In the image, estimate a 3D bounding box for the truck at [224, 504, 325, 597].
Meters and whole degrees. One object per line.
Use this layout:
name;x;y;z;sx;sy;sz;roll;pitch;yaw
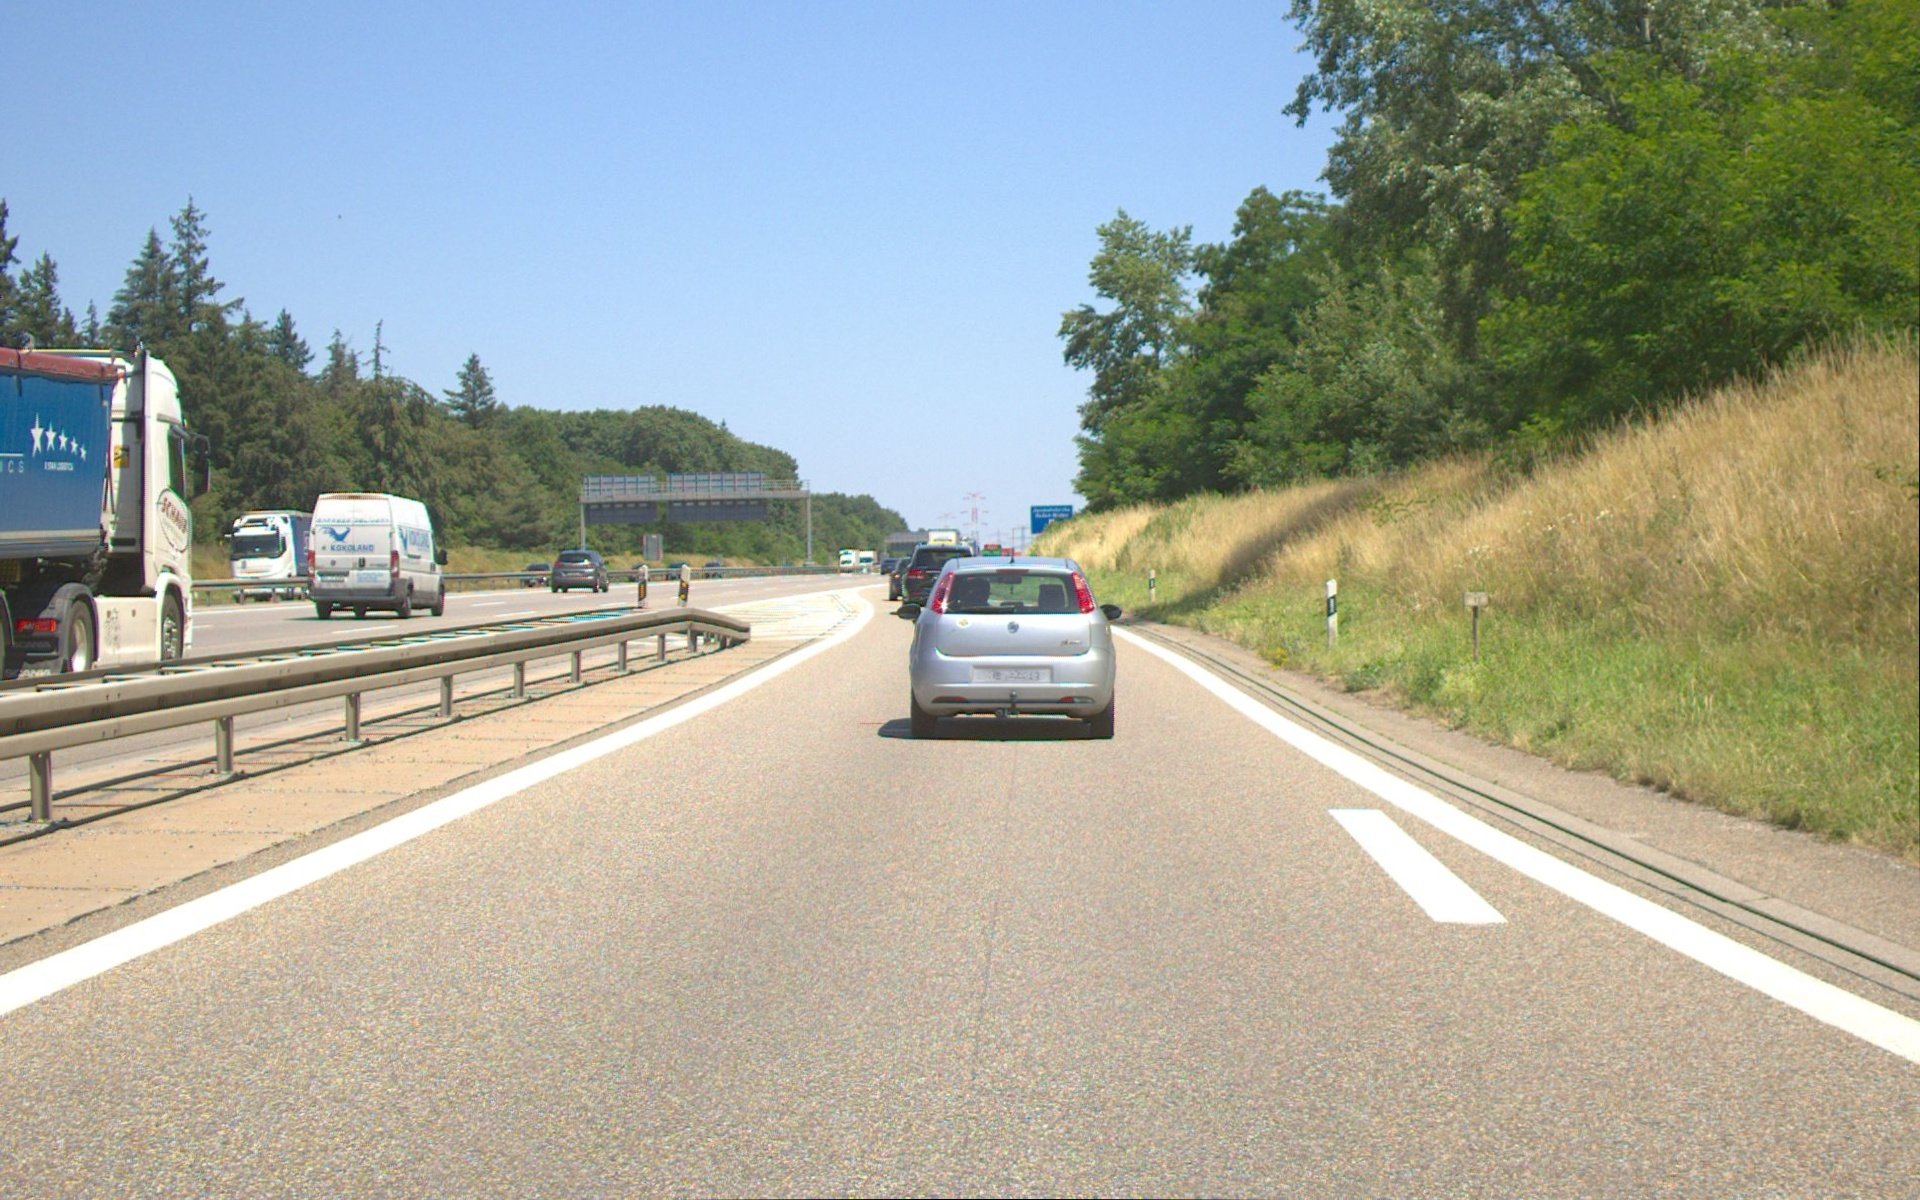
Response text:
truck;-31.998;-2.256;160.754;2.586;4.113;9.322;0;-1;2

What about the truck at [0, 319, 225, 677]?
truck;-10.208;-1.117;38.798;2.756;3.794;4.622;0;1;1

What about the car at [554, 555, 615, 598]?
car;-14.680;-0.900;134.574;1.993;1.612;4.000;0;-1;0

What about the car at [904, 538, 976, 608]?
car;-0.512;-0.654;84.995;1.706;1.670;3.398;0;-1;-1

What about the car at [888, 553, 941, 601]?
car;-1.512;-0.743;112.676;1.706;1.503;3.398;0;-1;-1

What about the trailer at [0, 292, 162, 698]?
trailer;-10.333;-0.994;33.100;2.771;3.794;9.885;0;1;1

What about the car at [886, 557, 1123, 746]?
car;0.321;0.385;28.892;1.706;1.477;3.398;0;1;-4

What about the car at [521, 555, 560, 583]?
car;-25.805;-1.904;211.528;1.993;1.668;4.000;0;-1;-1

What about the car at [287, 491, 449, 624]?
car;-13.384;-0.898;78.146;2.632;2.887;6.475;0;-1;-1
